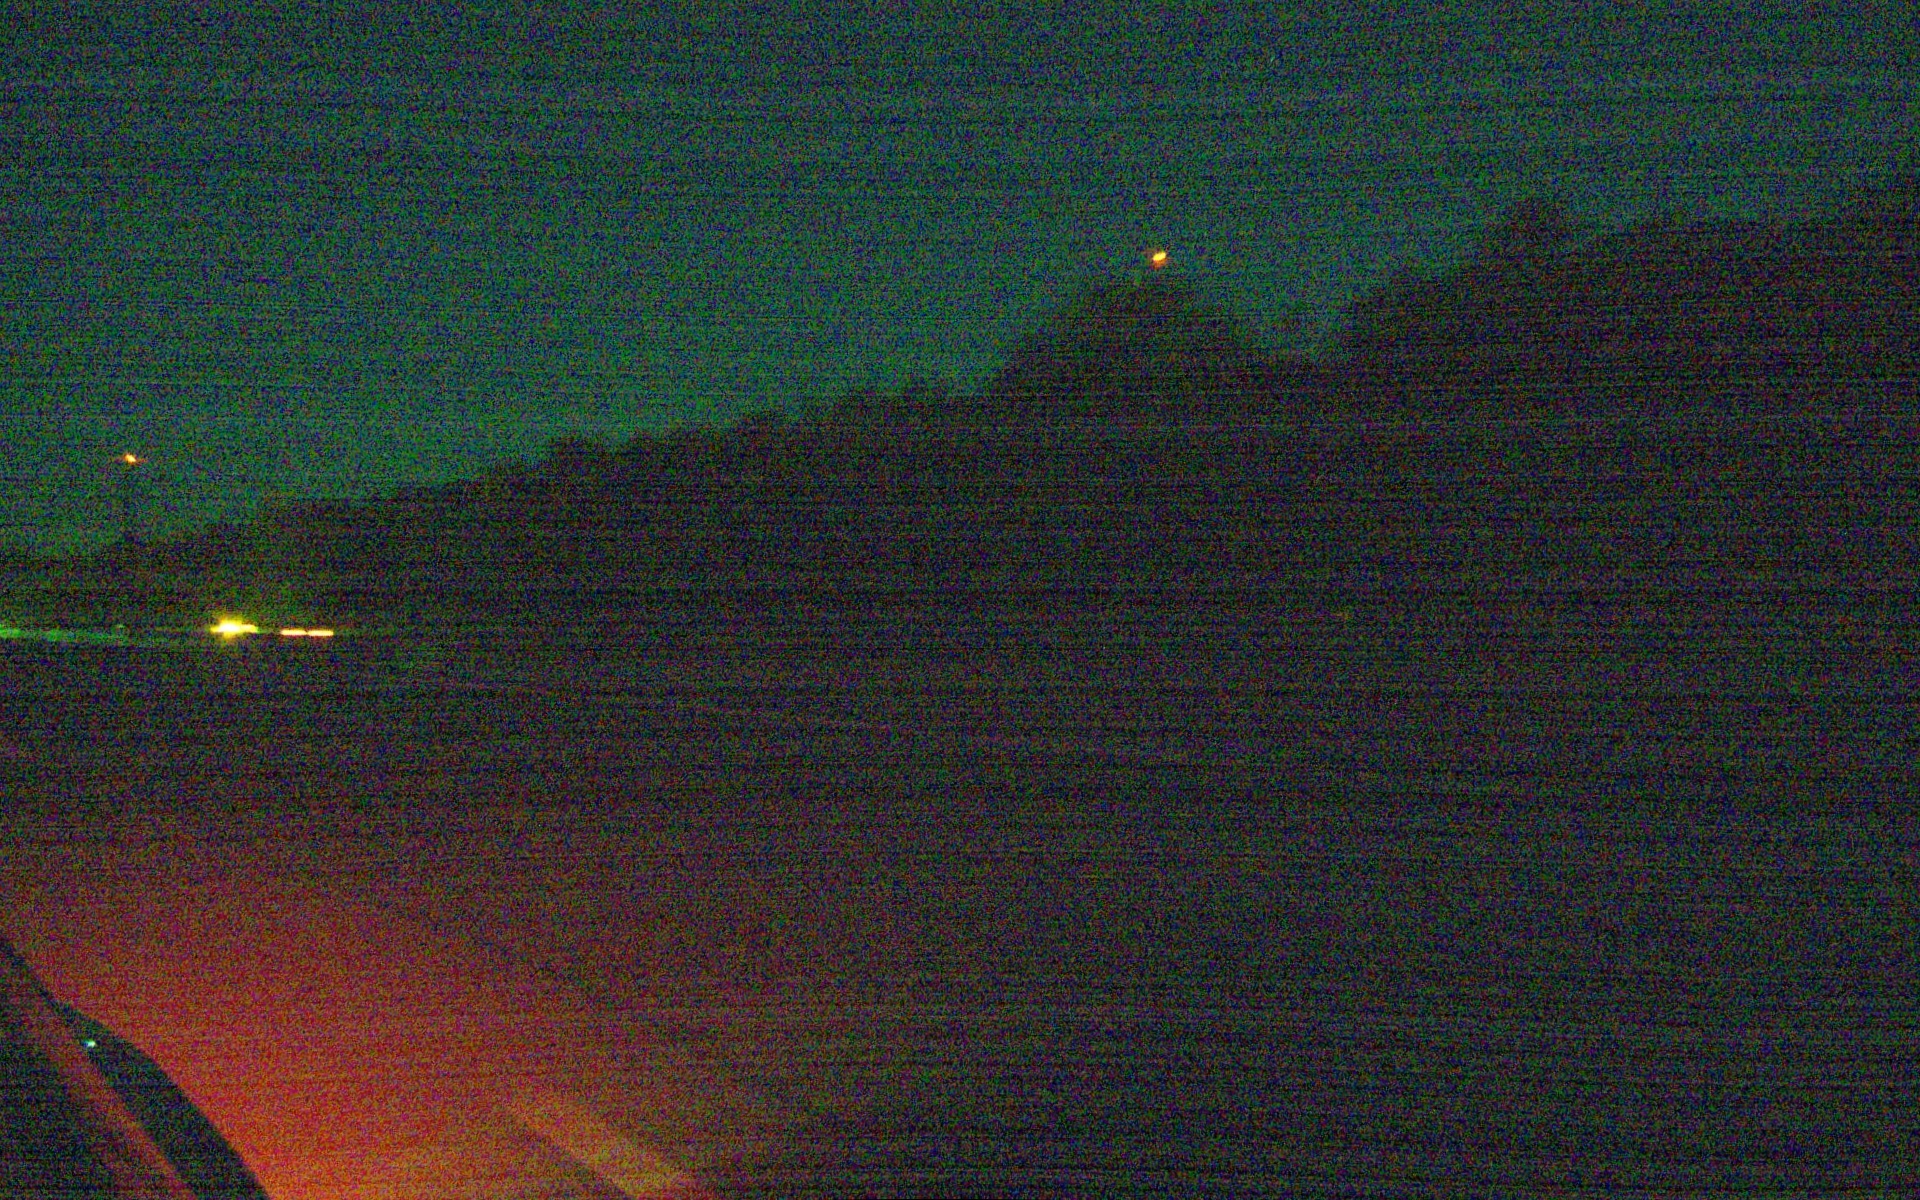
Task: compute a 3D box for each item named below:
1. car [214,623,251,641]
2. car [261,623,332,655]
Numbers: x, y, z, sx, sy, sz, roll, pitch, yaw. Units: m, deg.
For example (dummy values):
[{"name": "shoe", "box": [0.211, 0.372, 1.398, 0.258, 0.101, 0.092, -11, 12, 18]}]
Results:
[{"name": "car", "box": [-64.067, 2.826, 89.078, 3.998, 1.490, 1.773, 0, 0, 41]}, {"name": "car", "box": [-37.541, 2.175, 57.200, 5.106, 1.663, 1.988, 0, 0, 41]}]
